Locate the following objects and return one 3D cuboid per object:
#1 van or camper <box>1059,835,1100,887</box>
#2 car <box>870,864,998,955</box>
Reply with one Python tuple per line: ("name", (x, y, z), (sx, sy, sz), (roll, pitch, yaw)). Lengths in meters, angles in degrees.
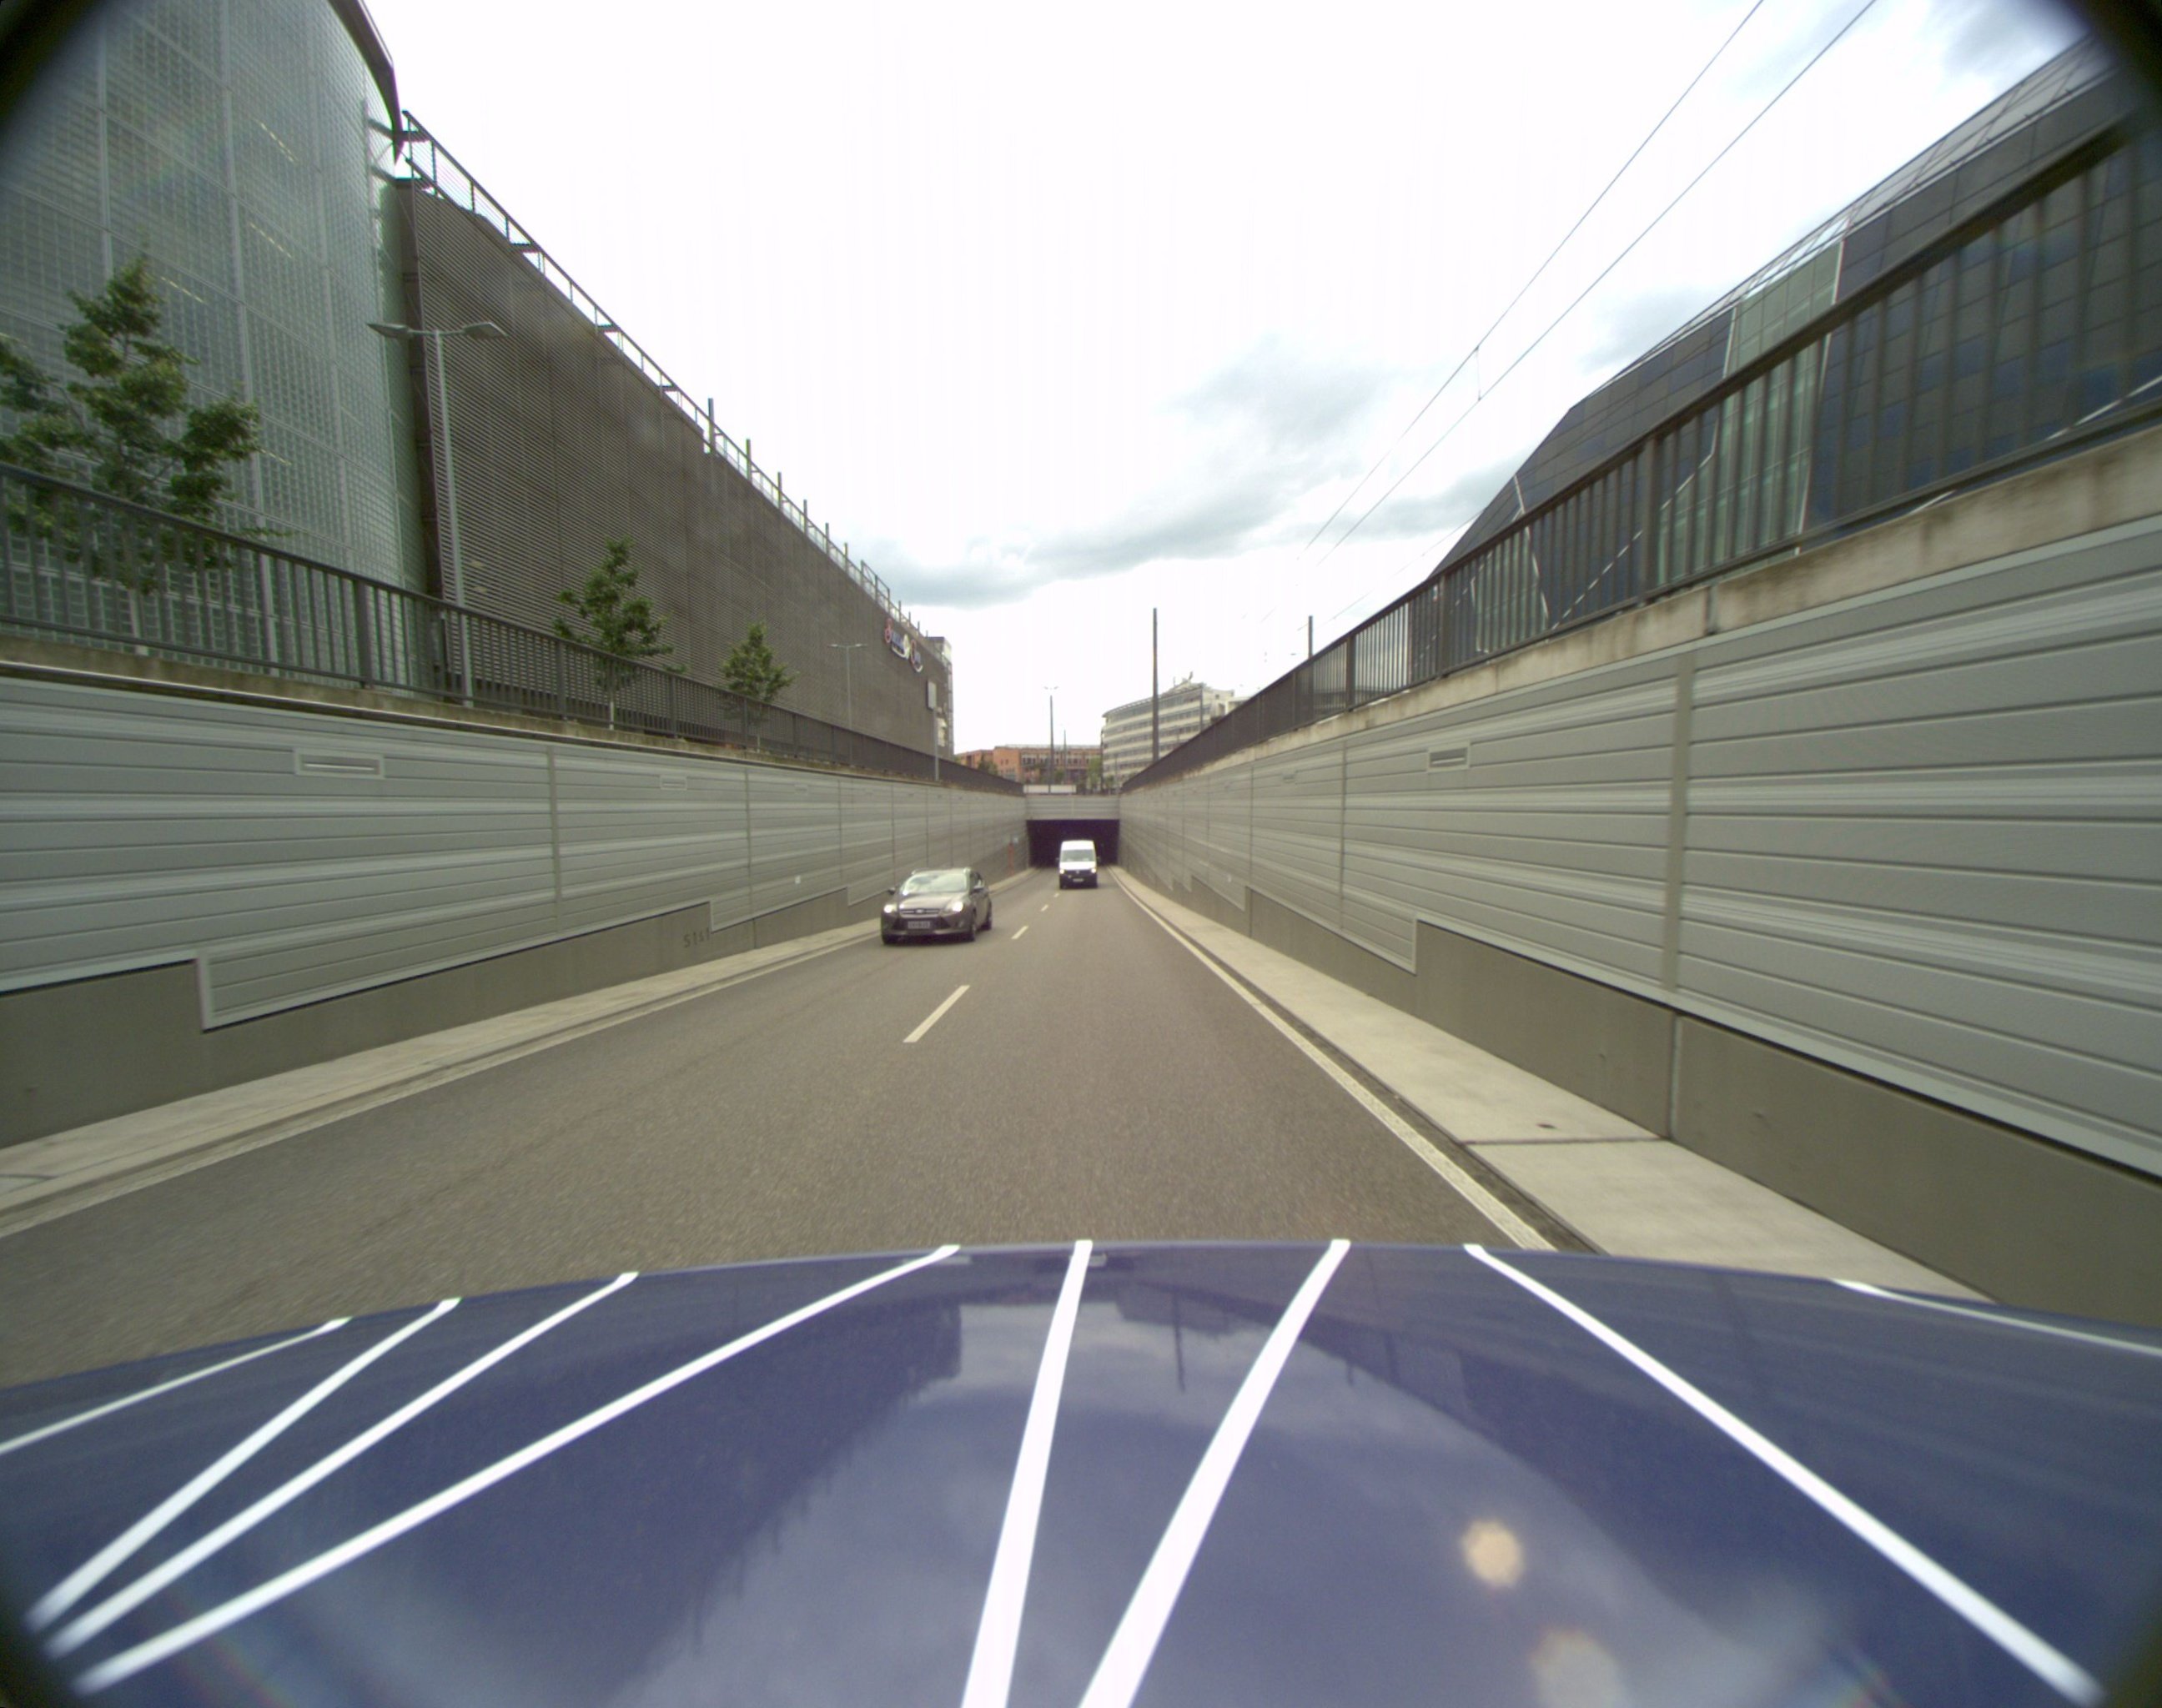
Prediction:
("van or camper", (-0.036, 0.392, 41.379), (2.043, 2.571, 5.042), (-2, -1, 1))
("car", (-2.957, 1.060, 16.188), (1.752, 1.491, 4.268), (-2, 1, 1))
